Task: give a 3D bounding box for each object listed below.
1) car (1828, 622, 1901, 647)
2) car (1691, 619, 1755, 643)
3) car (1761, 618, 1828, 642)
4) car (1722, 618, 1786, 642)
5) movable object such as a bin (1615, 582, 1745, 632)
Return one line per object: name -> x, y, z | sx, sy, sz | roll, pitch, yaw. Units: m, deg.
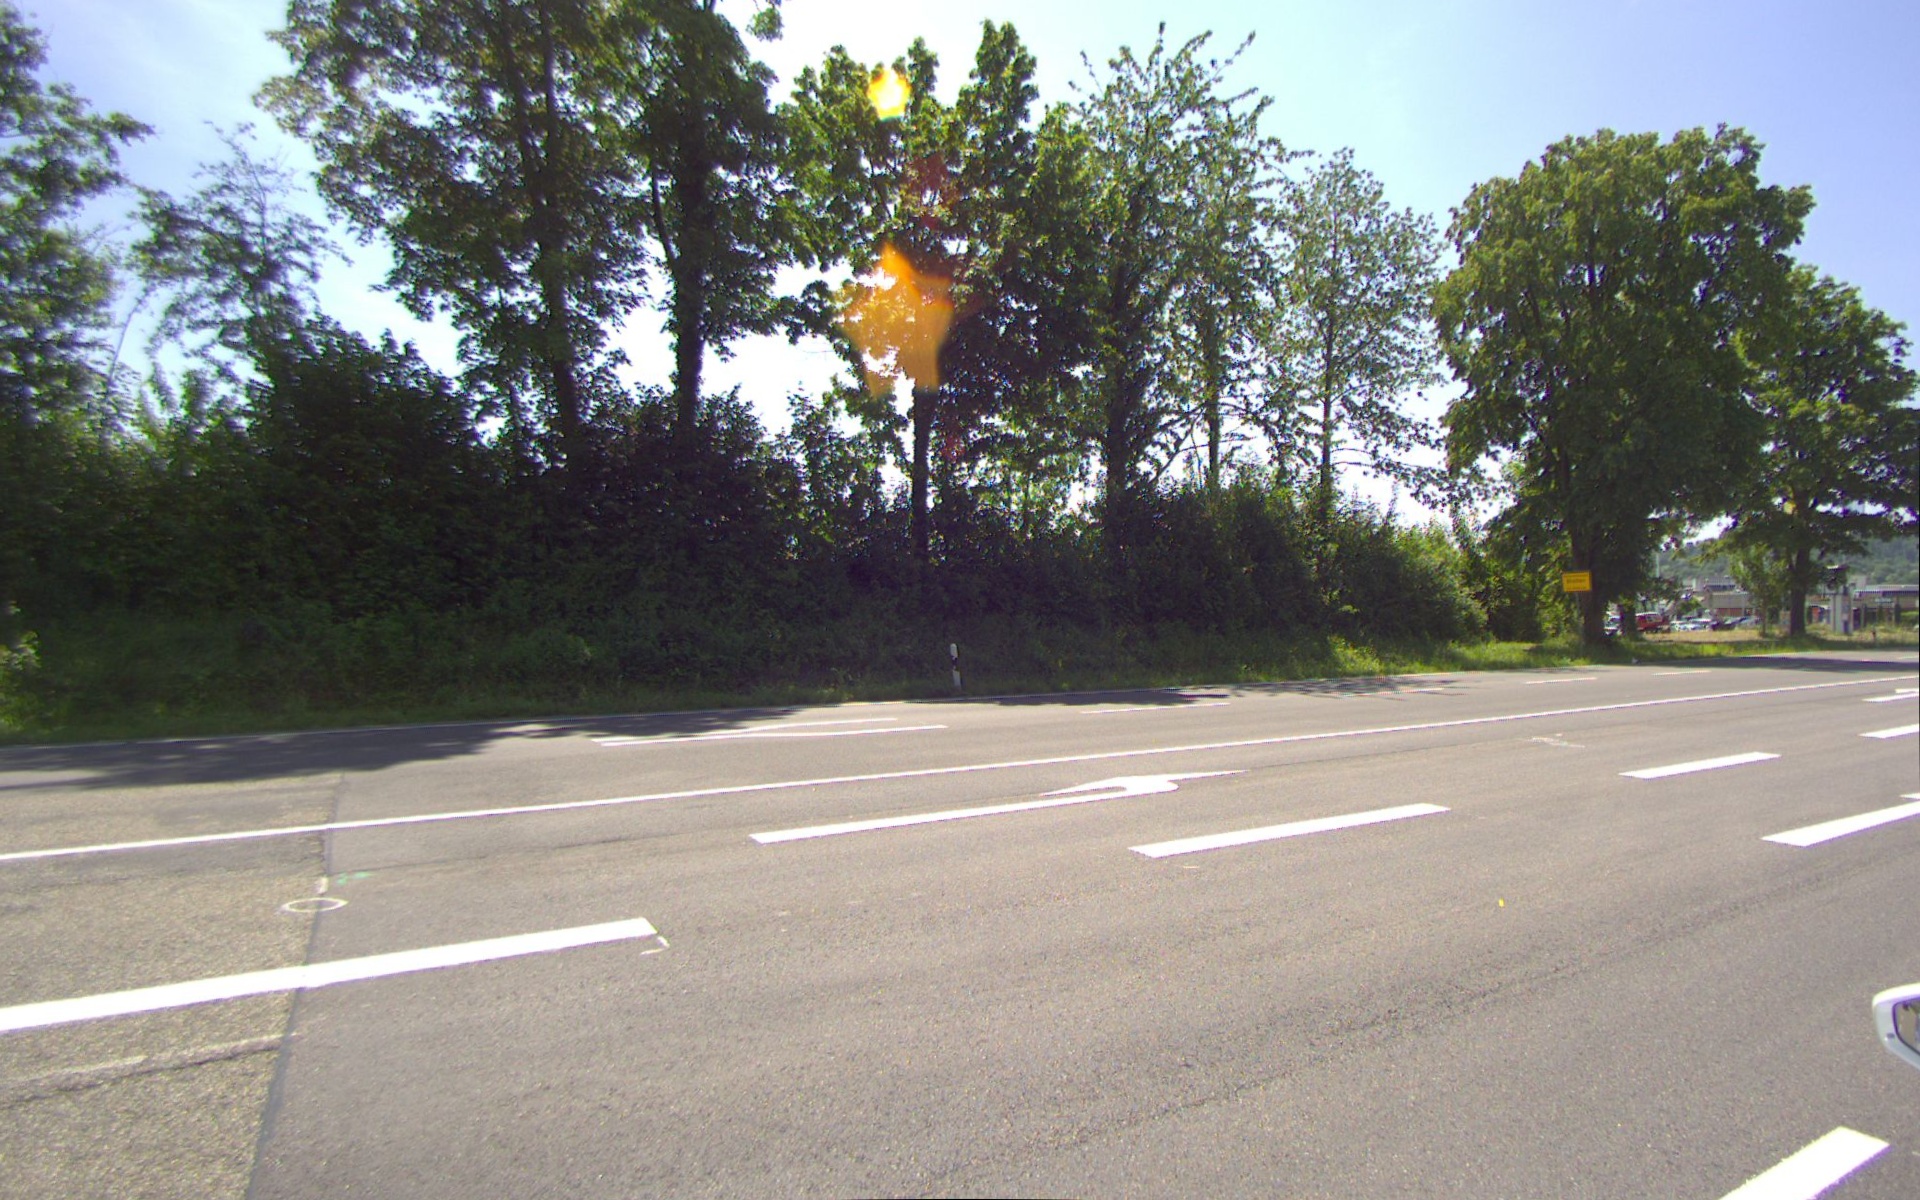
car -> 63.931, 2.393, 71.083 | 1.803, 1.639, 4.002 | 1, 0, 6
car -> 56.061, 2.251, 73.891 | 1.959, 1.673, 4.002 | 1, 0, 6
car -> 60.944, 2.197, 73.414 | 1.803, 1.639, 4.002 | 1, 0, 6
car -> 58.255, 2.186, 73.808 | 1.803, 1.639, 4.002 | 1, 0, 6
movable object such as a bin -> 49.786, 0.474, 69.608 | 6.654, 3.342, 3.054 | 0, 0, 9
